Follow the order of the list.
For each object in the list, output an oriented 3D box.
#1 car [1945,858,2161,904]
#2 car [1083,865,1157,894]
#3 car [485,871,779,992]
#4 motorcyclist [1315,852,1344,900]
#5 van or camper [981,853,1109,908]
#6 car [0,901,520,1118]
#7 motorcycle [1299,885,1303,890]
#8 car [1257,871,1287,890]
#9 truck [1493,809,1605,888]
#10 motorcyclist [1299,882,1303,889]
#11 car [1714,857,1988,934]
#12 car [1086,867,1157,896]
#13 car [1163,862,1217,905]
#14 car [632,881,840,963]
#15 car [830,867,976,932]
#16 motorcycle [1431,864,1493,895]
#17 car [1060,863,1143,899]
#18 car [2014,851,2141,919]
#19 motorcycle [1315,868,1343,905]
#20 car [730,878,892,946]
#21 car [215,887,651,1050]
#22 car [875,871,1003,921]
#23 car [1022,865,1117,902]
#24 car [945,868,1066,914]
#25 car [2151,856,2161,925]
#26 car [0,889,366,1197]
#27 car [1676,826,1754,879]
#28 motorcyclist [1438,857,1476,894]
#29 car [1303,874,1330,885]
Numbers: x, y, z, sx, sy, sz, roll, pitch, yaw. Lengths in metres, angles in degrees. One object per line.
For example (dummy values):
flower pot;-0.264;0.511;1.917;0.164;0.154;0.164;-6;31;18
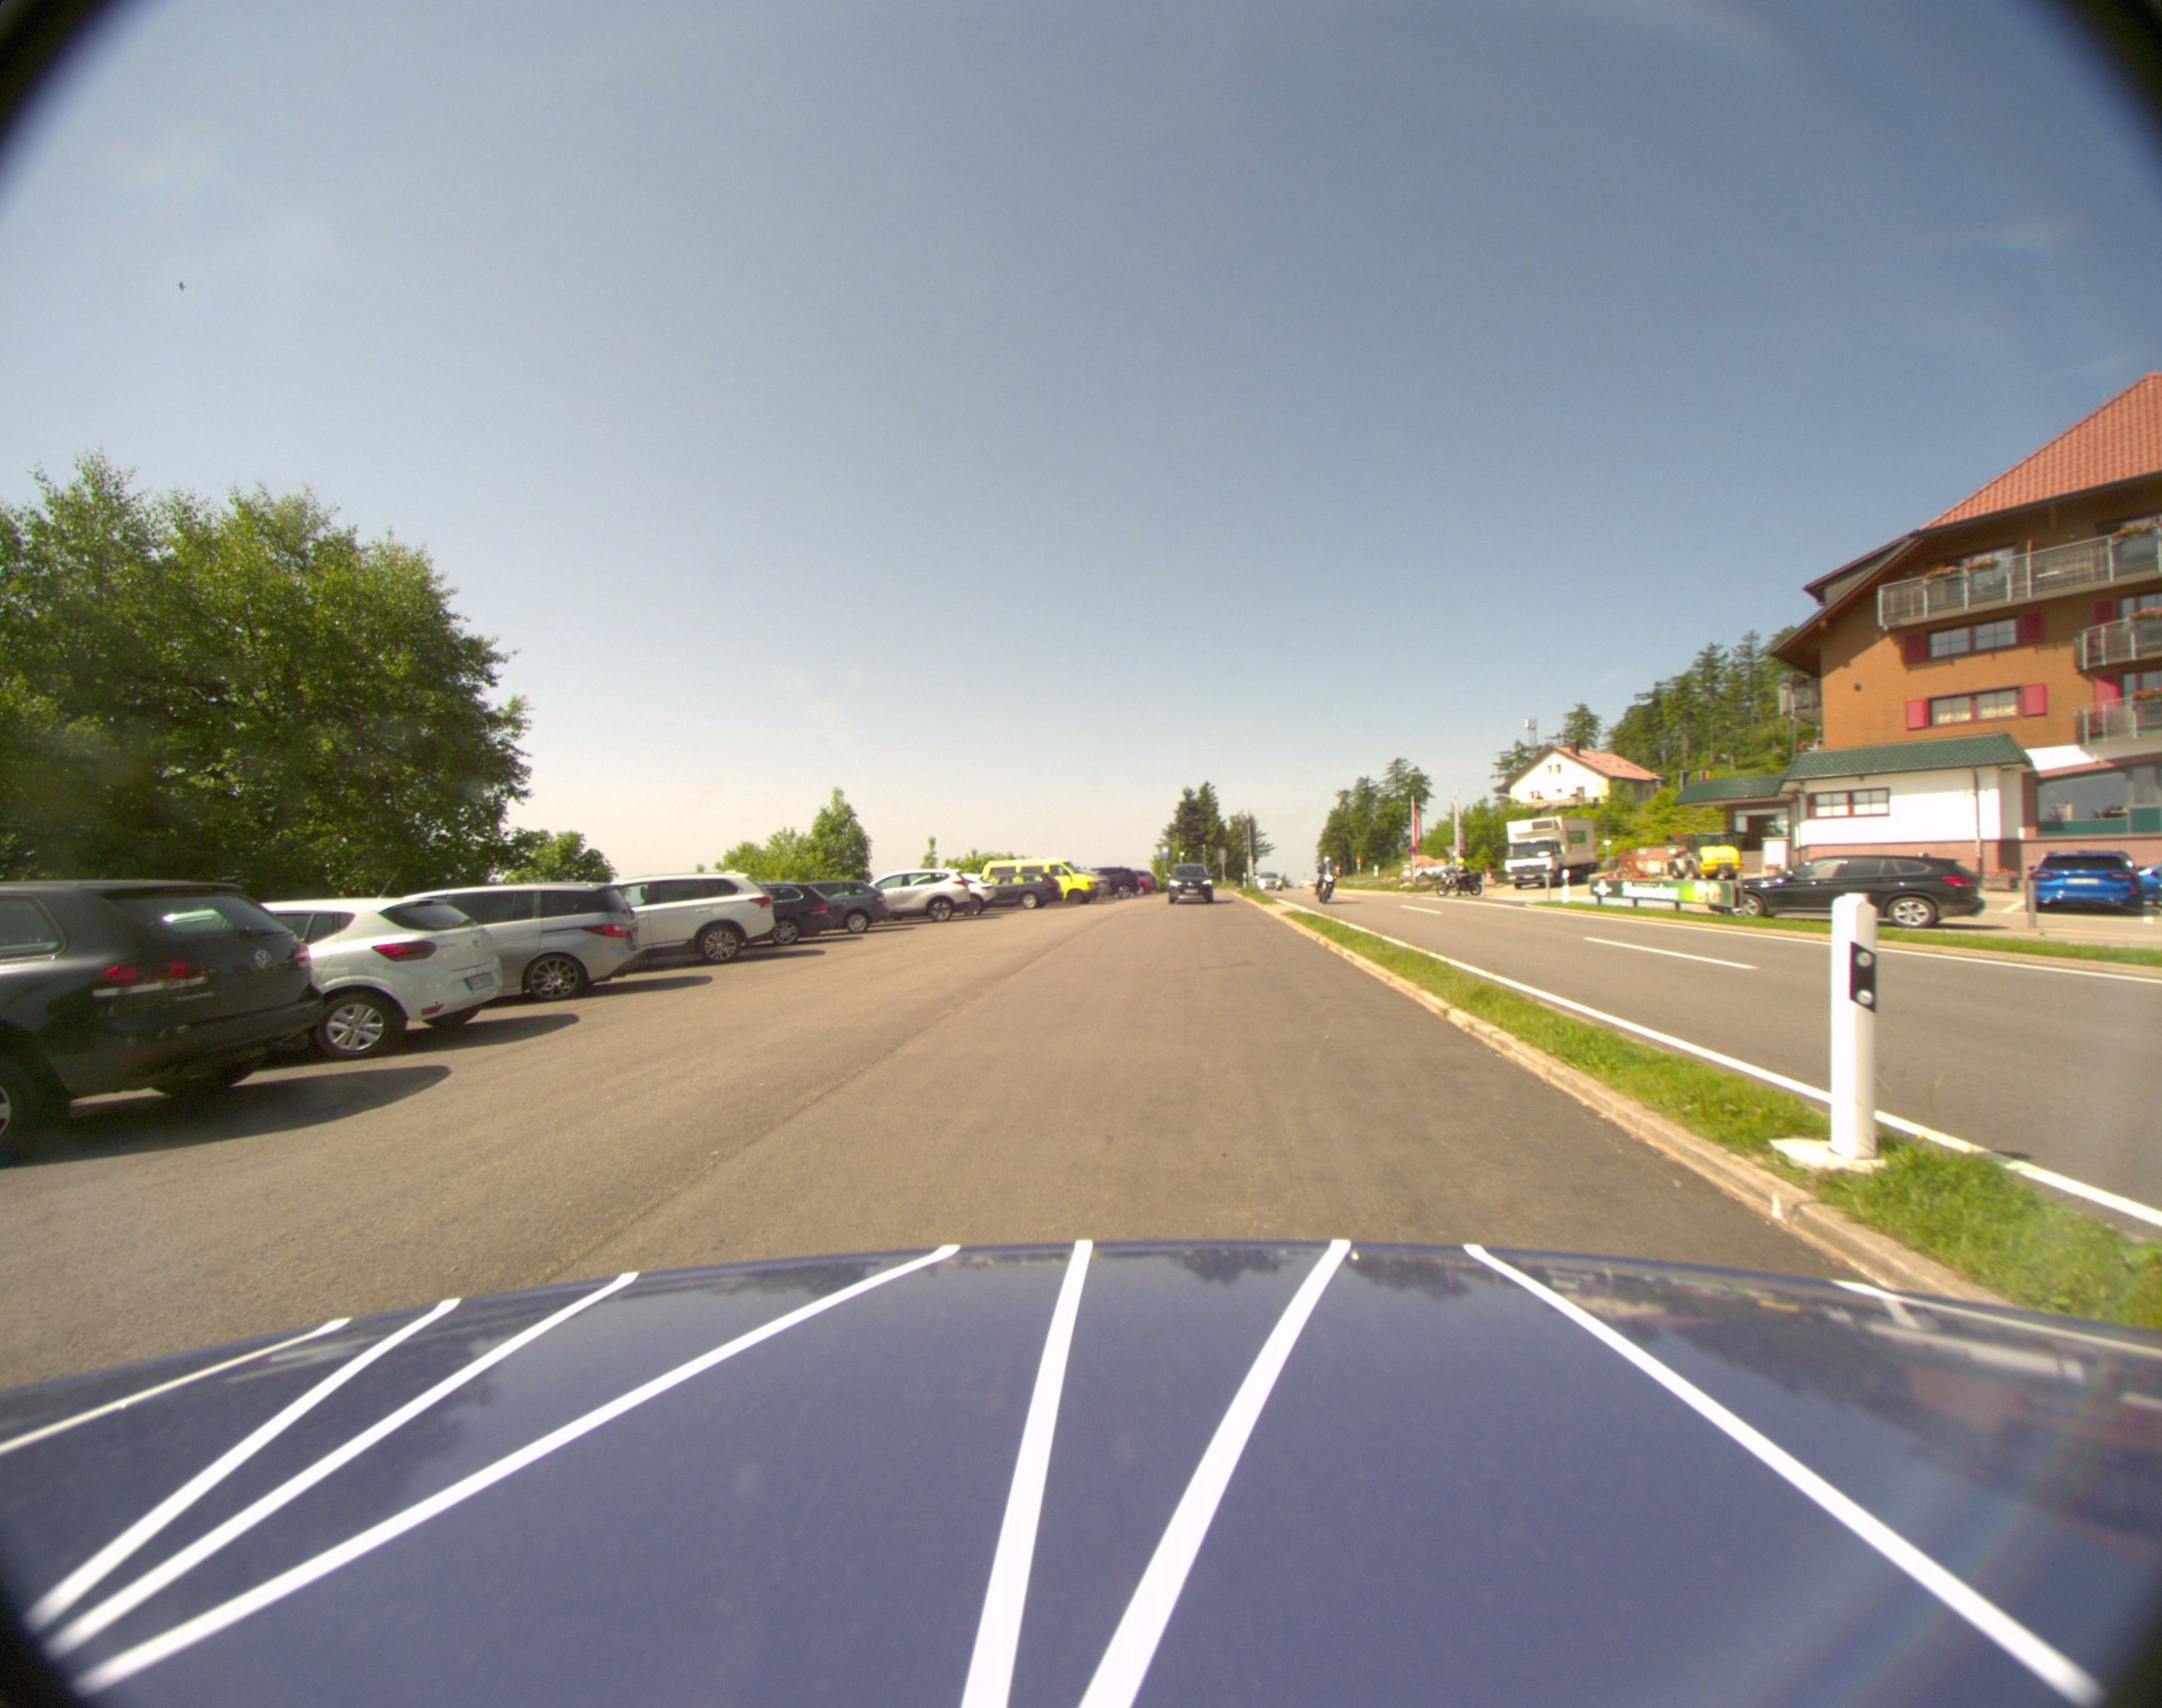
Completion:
car;29.678;0.811;23.323;1.717;1.289;3.990;1;-2;-34
car;2.409;1.605;47.240;4.407;1.558;1.909;-3;-2;3
car;-7.856;1.274;13.701;4.233;1.684;1.860;-3;-1;-29
motorcyclist;9.213;0.793;28.110;0.924;1.707;1.454;-1;0;21
van or camper;-1.525;1.155;32.668;5.098;2.001;1.884;-4;-2;13
car;-8.132;1.368;7.263;4.002;1.467;1.765;-3;0;-16
motorcycle;52.185;7.925;180.262;0.812;1.258;2.331;0;-1;21
car;14.442;1.989;57.601;1.779;1.448;4.004;0;-1;9
truck;26.382;-0.345;42.610;8.789;3.948;3.062;-2;-2;-44
motorcyclist;52.177;7.464;180.223;0.879;1.631;1.302;0;-1;20
car;17.488;0.884;17.461;1.811;1.531;4.182;1;-2;-36
car;2.345;1.620;44.674;3.997;1.500;1.843;-2;-2;-1
car;4.475;1.160;30.735;1.983;1.607;4.153;-1;-1;10
car;-7.738;1.477;17.453;4.054;1.452;1.892;-3;0;-20
car;-5.472;1.368;23.737;4.186;1.640;1.890;-4;0;-11
motorcycle;18.063;1.184;36.090;2.443;1.398;1.006;-1;0;-2
car;1.043;1.333;38.036;3.996;1.603;1.917;-2;-1;4
car;27.005;0.758;20.613;4.554;1.654;1.935;0;-1;-37
motorcycle;9.203;1.170;28.126;0.877;1.249;2.281;-1;0;21
car;-7.030;1.490;20.131;3.808;1.450;1.661;-3;-1;-14
car;-8.180;1.348;10.143;4.004;1.539;1.817;-3;0;-24
car;-4.885;1.441;26.633;4.097;1.491;1.943;-2;0;-3
car;-0.514;1.402;35.966;4.157;1.579;1.707;-3;-1;12
car;-2.927;1.442;29.946;4.359;1.478;1.814;-4;-2;6
car;26.236;0.838;17.362;4.008;1.536;1.995;1;-2;-35
car;-7.867;1.230;4.861;4.276;1.684;1.988;-3;0;-17
car;31.301;0.000;37.647;1.995;2.480;4.008;0;-1;25
motorcyclist;17.859;1.028;36.104;1.247;1.709;1.064;-1;0;-2
car;46.152;4.983;148.836;4.724;1.870;1.934;2;-1;12
